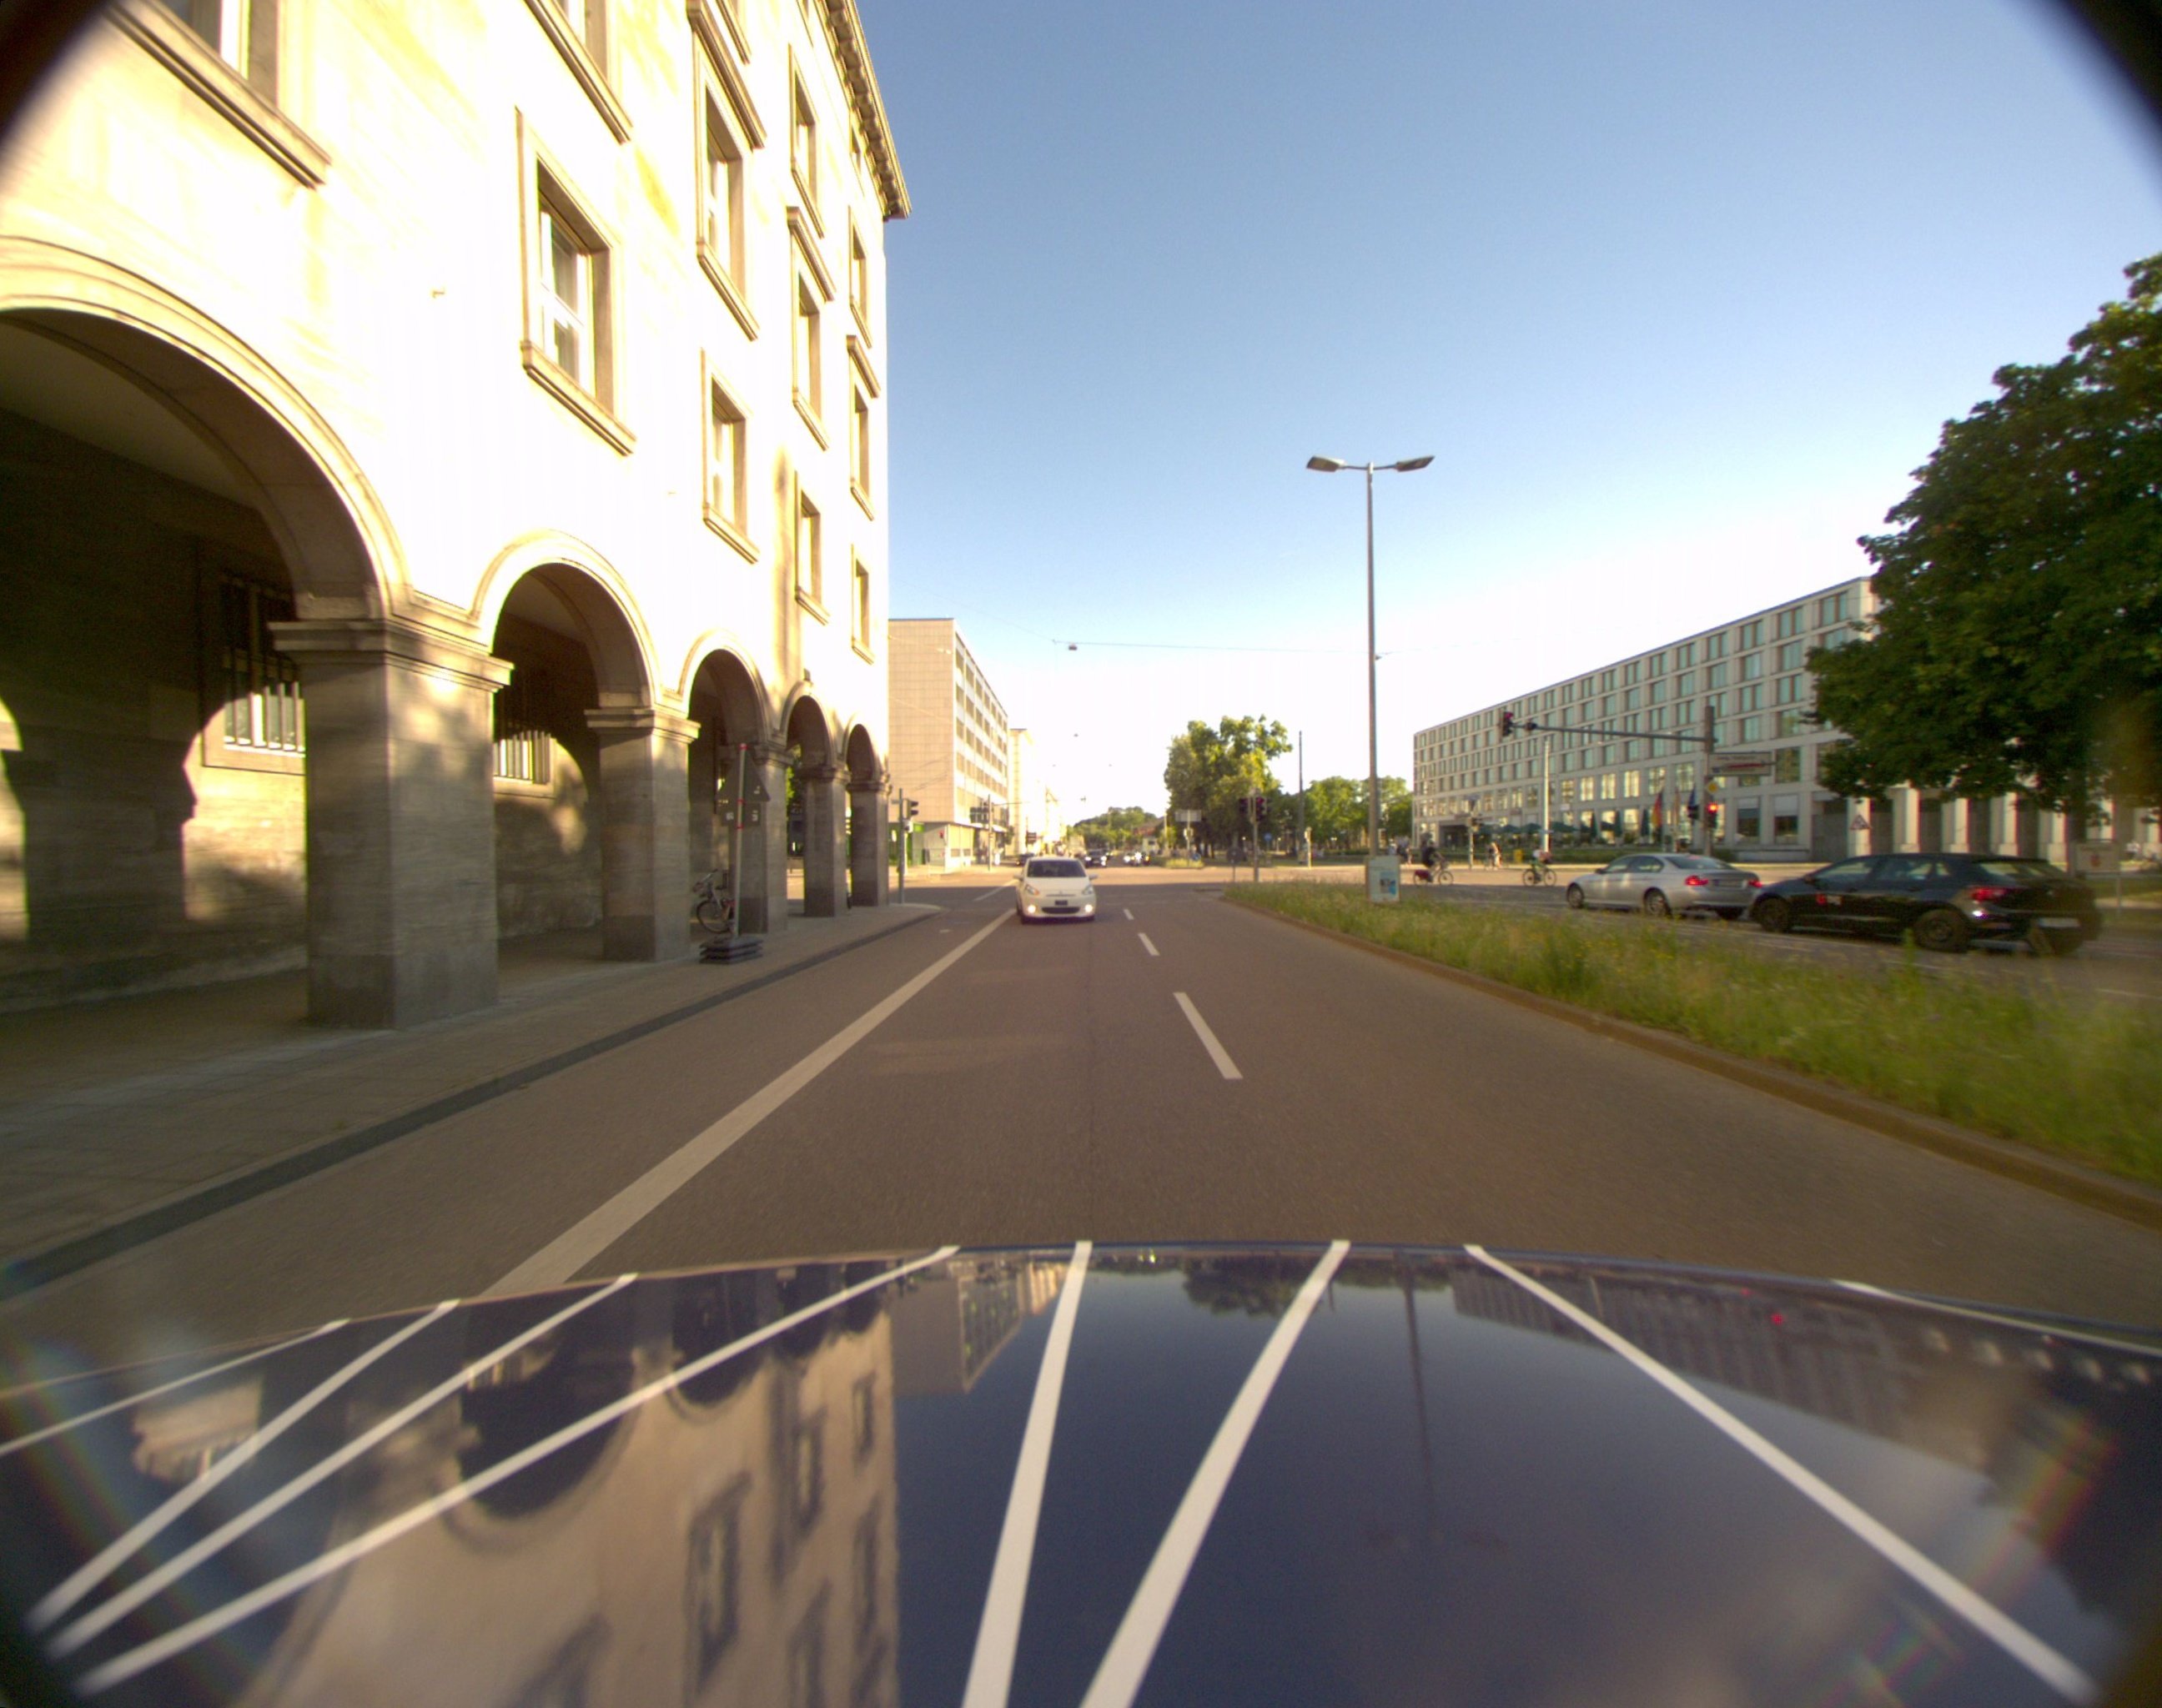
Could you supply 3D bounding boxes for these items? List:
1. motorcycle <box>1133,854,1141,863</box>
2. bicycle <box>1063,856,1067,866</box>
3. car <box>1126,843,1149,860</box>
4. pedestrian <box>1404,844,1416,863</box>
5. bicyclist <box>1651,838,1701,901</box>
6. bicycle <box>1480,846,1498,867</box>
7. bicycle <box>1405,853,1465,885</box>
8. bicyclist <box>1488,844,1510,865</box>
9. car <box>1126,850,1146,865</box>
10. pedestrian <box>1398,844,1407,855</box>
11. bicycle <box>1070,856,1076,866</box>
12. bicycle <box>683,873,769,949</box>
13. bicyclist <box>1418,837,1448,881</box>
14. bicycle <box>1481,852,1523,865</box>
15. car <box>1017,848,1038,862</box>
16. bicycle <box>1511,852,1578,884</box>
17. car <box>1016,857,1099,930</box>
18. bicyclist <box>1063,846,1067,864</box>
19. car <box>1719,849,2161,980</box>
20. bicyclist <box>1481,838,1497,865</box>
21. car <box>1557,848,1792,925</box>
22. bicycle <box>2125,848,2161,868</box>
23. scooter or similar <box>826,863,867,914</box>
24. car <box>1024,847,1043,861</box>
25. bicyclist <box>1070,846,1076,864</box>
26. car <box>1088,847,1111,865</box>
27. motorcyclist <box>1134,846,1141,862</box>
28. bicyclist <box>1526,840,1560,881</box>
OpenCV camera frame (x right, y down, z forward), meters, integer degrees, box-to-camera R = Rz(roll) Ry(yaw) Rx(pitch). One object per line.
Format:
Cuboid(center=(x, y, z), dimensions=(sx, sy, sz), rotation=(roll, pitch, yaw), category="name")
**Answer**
Cuboid(center=(5.129, 0.372, 69.095), dimensions=(0.623, 0.791, 1.309), rotation=(0, 1, -1), category="motorcycle")
Cuboid(center=(-1.403, 0.589, 67.422), dimensions=(0.351, 0.869, 1.385), rotation=(0, 1, 1), category="bicycle")
Cuboid(center=(5.561, -0.245, 75.014), dimensions=(1.998, 1.564, 4.549), rotation=(-1, 1, 1), category="car")
Cuboid(center=(25.504, -0.037, 58.930), dimensions=(0.623, 1.517, 0.603), rotation=(-1, 1, -4), category="pedestrian")
Cuboid(center=(16.338, 0.404, 20.869), dimensions=(0.782, 1.669, 0.839), rotation=(1, 1, 15), category="bicyclist")
Cuboid(center=(24.462, 0.128, 45.549), dimensions=(0.844, 1.223, 2.018), rotation=(0, 1, 30), category="bicycle")
Cuboid(center=(14.223, 0.610, 30.552), dimensions=(2.019, 1.233, 0.778), rotation=(0, 3, 1), category="bicycle")
Cuboid(center=(27.847, 0.014, 50.611), dimensions=(0.972, 1.354, 0.826), rotation=(0, 1, 1), category="bicyclist")
Cuboid(center=(6.085, 0.321, 84.182), dimensions=(1.998, 1.564, 4.549), rotation=(0, 1, 1), category="car")
Cuboid(center=(41.969, -0.582, 99.165), dimensions=(0.784, 1.517, 0.762), rotation=(0, 1, 1), category="pedestrian")
Cuboid(center=(-0.693, 0.583, 67.621), dimensions=(0.452, 0.869, 1.385), rotation=(0, 1, 1), category="bicycle")
Cuboid(center=(-6.002, 0.921, 12.815), dimensions=(1.708, 1.127, 0.665), rotation=(2, 1, 41), category="bicycle")
Cuboid(center=(14.137, 0.208, 30.529), dimensions=(0.838, 1.734, 0.754), rotation=(0, 3, 1), category="bicyclist")
Cuboid(center=(28.041, 0.277, 50.621), dimensions=(2.334, 0.846, 0.843), rotation=(0, 1, 1), category="bicycle")
Cuboid(center=(-6.165, 0.117, 88.386), dimensions=(1.998, 1.564, 4.549), rotation=(0, 1, 1), category="car")
Cuboid(center=(19.152, 0.575, 31.426), dimensions=(2.310, 1.233, 0.778), rotation=(-1, 3, 1), category="bicycle")
Cuboid(center=(-0.657, 0.846, 17.999), dimensions=(1.679, 1.455, 3.763), rotation=(-2, 1, -5), category="car")
Cuboid(center=(-1.407, 0.103, 67.408), dimensions=(0.358, 1.567, 0.535), rotation=(0, 1, 1), category="bicyclist")
Cuboid(center=(13.058, 0.772, 12.111), dimensions=(1.998, 1.666, 4.549), rotation=(0, 1, 1), category="car")
Cuboid(center=(24.435, -0.158, 45.508), dimensions=(0.850, 1.610, 0.974), rotation=(0, 1, 30), category="bicyclist")
Cuboid(center=(13.500, 0.645, 17.748), dimensions=(1.998, 1.552, 4.549), rotation=(0, 1, 1), category="car")
Cuboid(center=(47.493, 0.163, 33.443), dimensions=(0.770, 0.884, 1.605), rotation=(-1, 1, -7), category="bicycle")
Cuboid(center=(-6.015, 0.858, 19.435), dimensions=(0.643, 1.216, 1.261), rotation=(1, 1, -34), category="scooter or similar")
Cuboid(center=(-5.887, -0.014, 94.445), dimensions=(1.998, 1.564, 4.549), rotation=(0, 1, 1), category="car")
Cuboid(center=(-0.696, 0.117, 67.547), dimensions=(0.453, 1.567, 0.535), rotation=(0, 1, 1), category="bicyclist")
Cuboid(center=(1.653, 0.158, 68.921), dimensions=(1.998, 1.564, 4.549), rotation=(-1, 1, 1), category="car")
Cuboid(center=(5.145, 0.029, 69.080), dimensions=(0.607, 1.438, 0.736), rotation=(-1, 1, -3), category="motorcyclist")
Cuboid(center=(19.084, 0.266, 31.398), dimensions=(0.924, 1.681, 0.775), rotation=(0, 3, 1), category="bicyclist")
